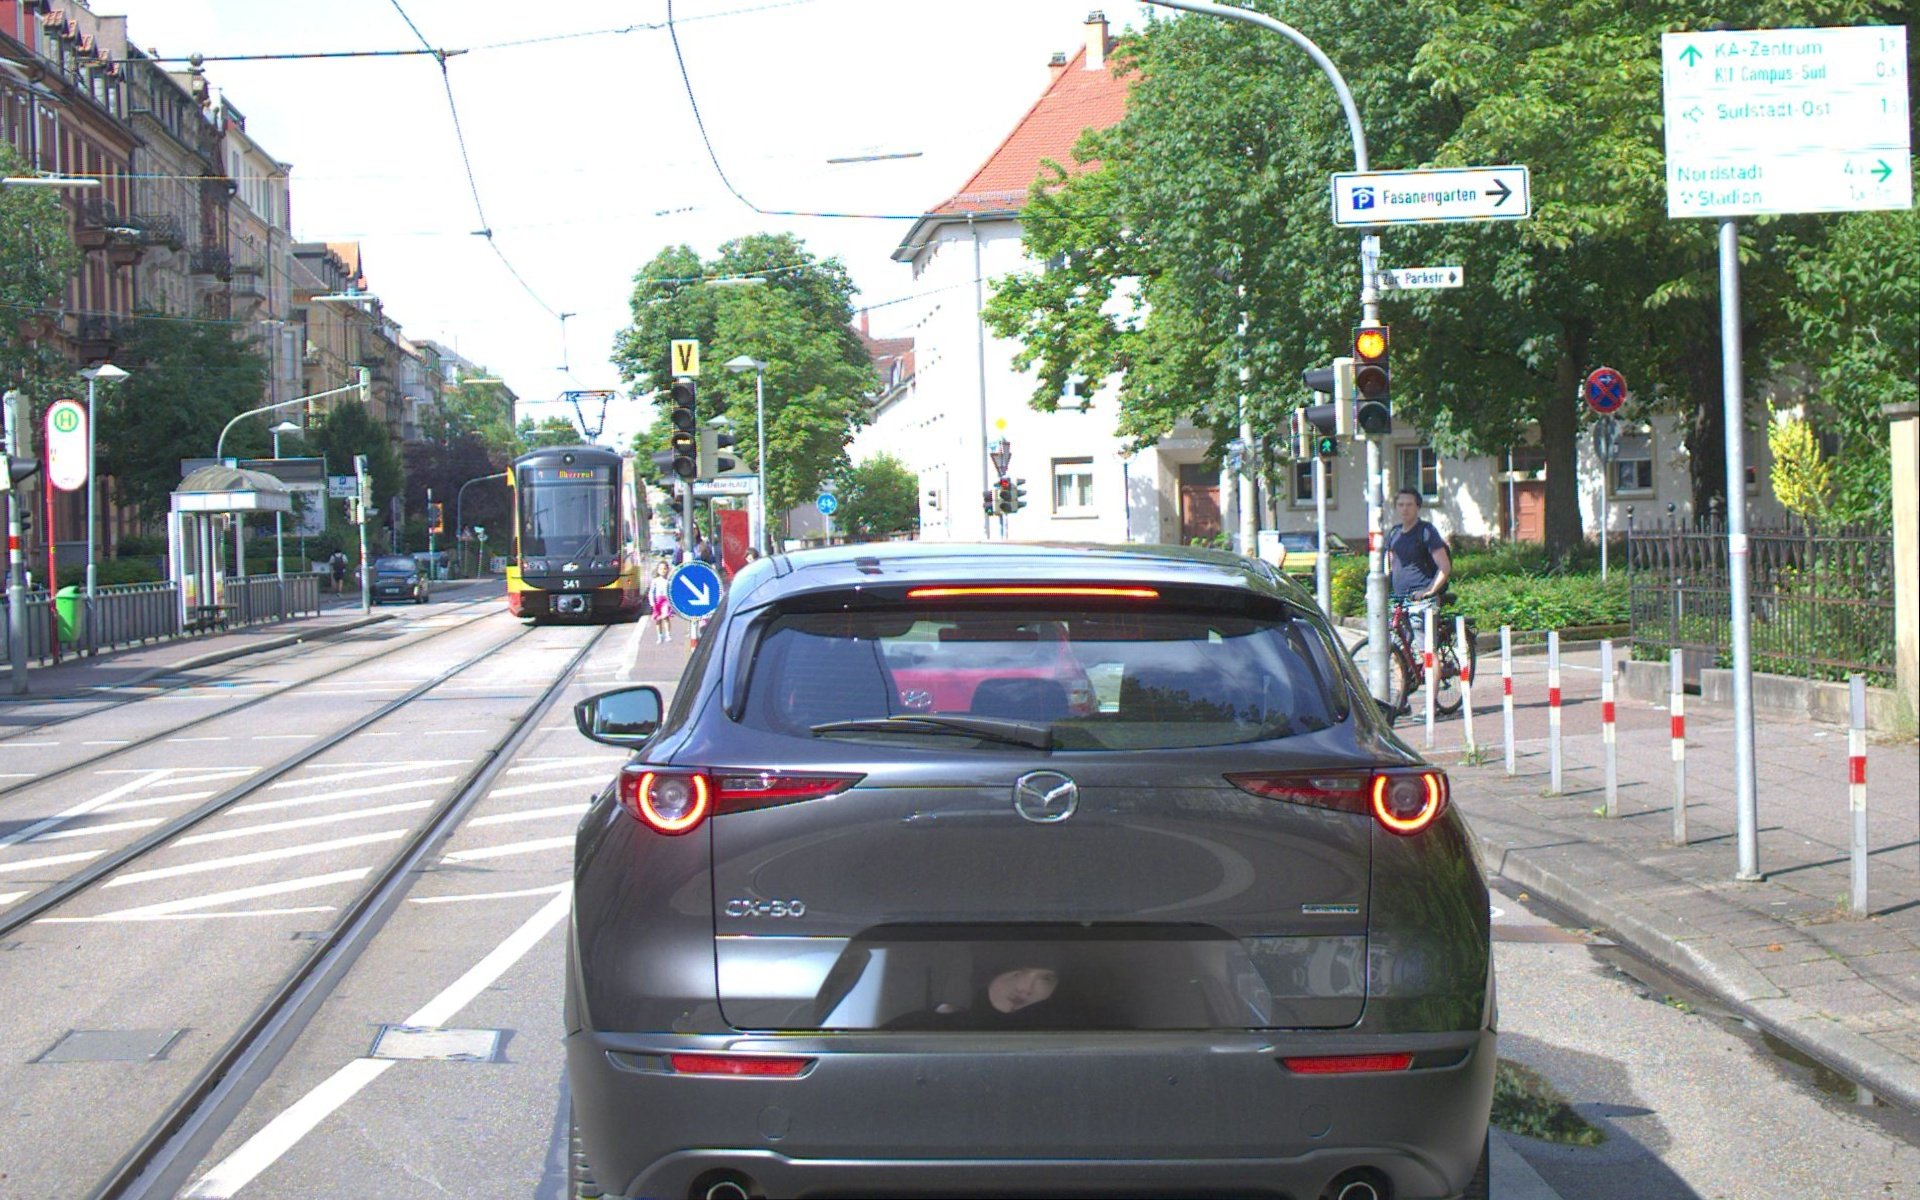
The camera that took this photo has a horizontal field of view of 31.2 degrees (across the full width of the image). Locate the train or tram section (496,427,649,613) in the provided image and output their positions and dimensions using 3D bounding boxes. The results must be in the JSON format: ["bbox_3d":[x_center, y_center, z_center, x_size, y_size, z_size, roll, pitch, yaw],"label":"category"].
[{"bbox_3d":[-8.038,-1.775,72.759,2.752,3.478,14.411,-2,2,-5],"label":"train or tram section"}]

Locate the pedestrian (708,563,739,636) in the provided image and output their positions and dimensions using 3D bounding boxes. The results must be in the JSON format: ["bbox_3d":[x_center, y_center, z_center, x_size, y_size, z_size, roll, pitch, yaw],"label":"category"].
[{"bbox_3d":[-3.234,-0.006,47.014,0.379,0.981,0.474,-2,1,-5],"label":"pedestrian"}]

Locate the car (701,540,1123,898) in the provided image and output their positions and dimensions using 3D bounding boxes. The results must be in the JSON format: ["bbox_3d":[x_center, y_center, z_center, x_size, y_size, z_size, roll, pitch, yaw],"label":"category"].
[{"bbox_3d":[-0.252,0.473,16.592,1.778,1.494,4.000,1,1,-1],"label":"car"}]

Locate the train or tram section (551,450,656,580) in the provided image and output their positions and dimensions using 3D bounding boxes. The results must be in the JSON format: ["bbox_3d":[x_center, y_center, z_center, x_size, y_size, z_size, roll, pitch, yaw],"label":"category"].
[{"bbox_3d":[-10.378,-2.571,101.185,2.752,3.478,14.411,-2,2,-5],"label":"train or tram section"}]

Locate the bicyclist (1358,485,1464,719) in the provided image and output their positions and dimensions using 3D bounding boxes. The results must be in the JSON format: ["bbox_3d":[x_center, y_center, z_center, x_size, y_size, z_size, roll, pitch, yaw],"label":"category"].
[{"bbox_3d":[3.517,0.008,26.832,0.608,1.786,0.658,-2,1,-11],"label":"bicyclist"}]

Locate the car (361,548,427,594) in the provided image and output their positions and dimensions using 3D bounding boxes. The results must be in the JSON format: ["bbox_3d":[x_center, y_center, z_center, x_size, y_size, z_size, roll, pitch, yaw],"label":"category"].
[{"bbox_3d":[-16.852,-0.868,102.473,1.614,1.305,3.628,-1,1,-4],"label":"car"}]

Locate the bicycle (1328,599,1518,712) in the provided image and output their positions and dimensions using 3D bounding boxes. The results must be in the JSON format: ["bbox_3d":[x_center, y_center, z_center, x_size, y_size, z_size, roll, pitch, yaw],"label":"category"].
[{"bbox_3d":[3.666,0.426,27.131,1.694,0.821,0.494,-2,1,-42],"label":"bicycle"}]

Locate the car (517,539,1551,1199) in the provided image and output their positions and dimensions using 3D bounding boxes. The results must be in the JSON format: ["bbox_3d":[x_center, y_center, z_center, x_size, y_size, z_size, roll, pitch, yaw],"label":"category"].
[{"bbox_3d":[0.080,0.619,7.951,1.778,1.494,4.000,1,1,-1],"label":"car"}]

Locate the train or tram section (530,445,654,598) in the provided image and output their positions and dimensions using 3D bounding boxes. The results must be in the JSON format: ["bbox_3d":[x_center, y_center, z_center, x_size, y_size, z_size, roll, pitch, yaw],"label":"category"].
[{"bbox_3d":[-9.157,-2.062,86.846,2.752,3.478,14.411,-2,2,-5],"label":"train or tram section"}]

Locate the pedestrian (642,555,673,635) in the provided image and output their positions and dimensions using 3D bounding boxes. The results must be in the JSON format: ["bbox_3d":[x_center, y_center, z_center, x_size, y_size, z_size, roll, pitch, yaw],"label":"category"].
[{"bbox_3d":[-4.126,-0.069,46.897,0.379,1.067,0.474,-2,1,-5],"label":"pedestrian"}]

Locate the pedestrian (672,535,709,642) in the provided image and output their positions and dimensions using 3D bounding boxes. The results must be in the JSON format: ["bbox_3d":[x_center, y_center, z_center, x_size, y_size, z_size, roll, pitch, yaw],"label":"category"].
[{"bbox_3d":[-3.677,-0.160,46.875,0.450,1.429,0.474,-2,1,-5],"label":"pedestrian"}]
